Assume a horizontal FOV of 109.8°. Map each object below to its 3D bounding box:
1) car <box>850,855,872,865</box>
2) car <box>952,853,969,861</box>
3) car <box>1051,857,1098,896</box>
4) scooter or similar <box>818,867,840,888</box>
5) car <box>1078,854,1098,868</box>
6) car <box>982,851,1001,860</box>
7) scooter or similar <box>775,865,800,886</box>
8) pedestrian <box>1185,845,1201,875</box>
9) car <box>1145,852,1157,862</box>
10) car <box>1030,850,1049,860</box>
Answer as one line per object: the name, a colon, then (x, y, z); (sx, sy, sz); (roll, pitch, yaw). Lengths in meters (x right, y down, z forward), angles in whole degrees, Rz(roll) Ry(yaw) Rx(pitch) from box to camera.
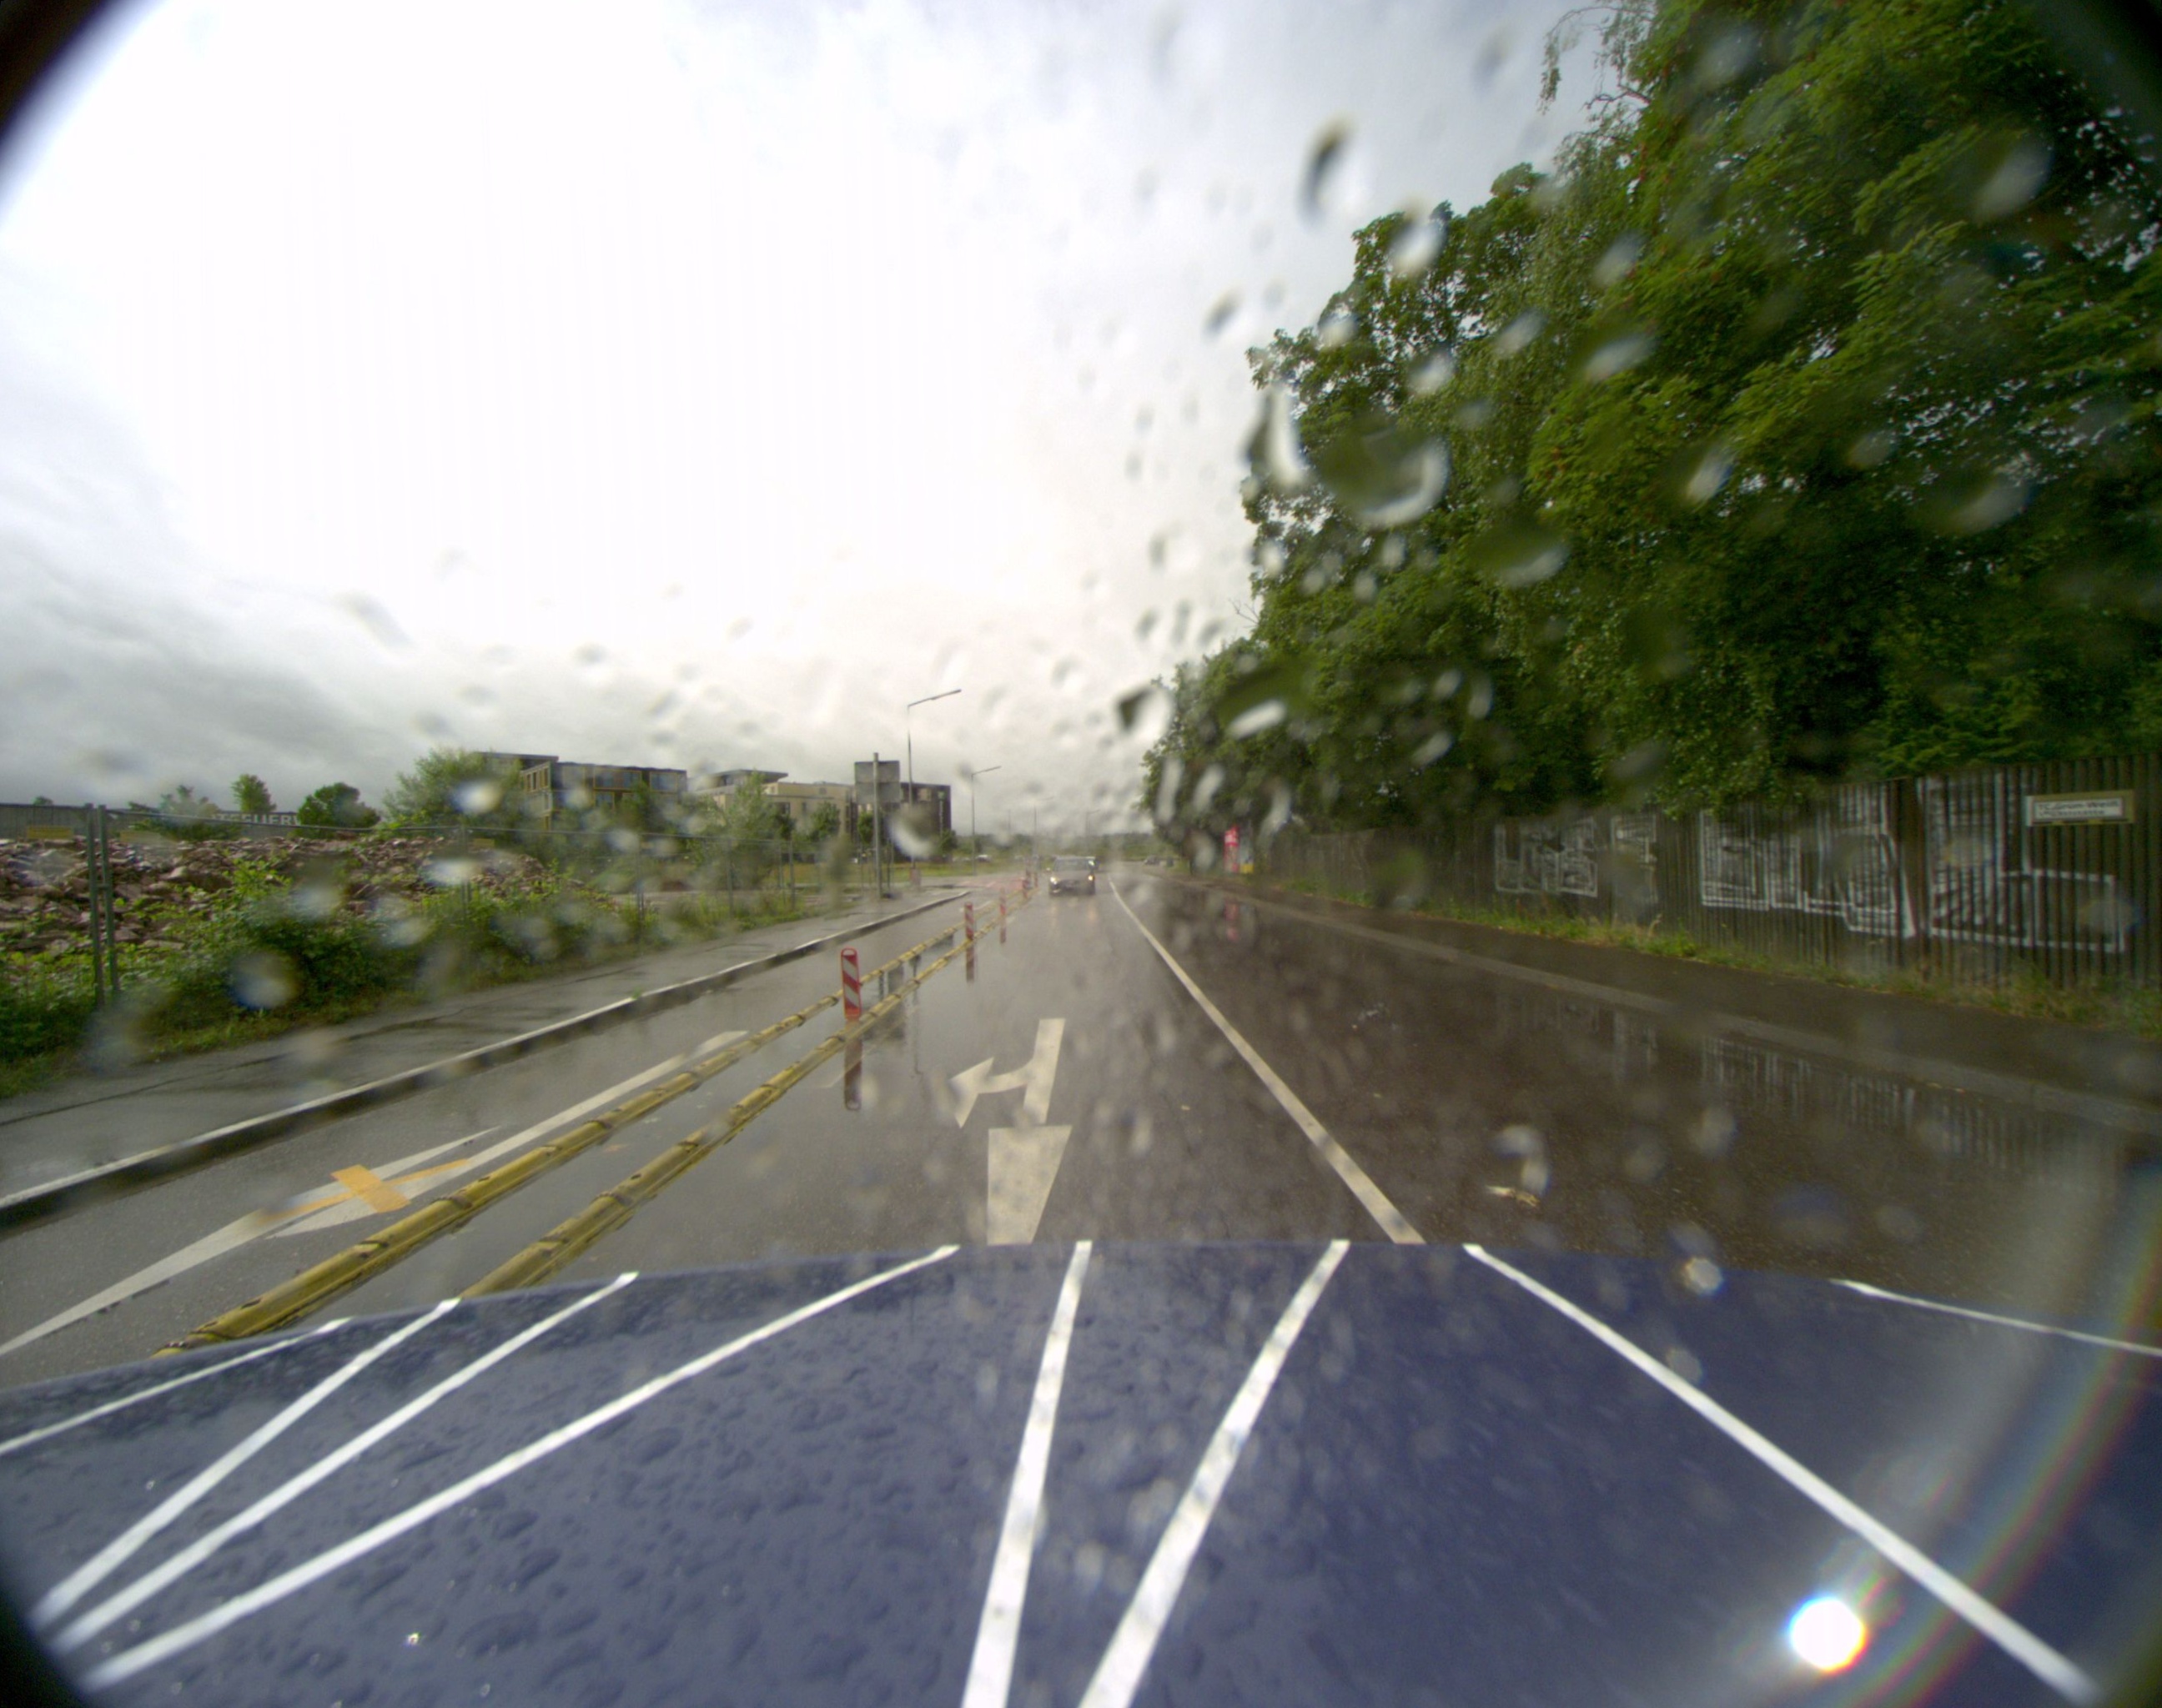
car: (-37.234, 1.081, 128.572); (1.644, 1.573, 3.674); (-1, 0, 24)
car: (-27.322, 0.617, 172.251); (3.657, 1.601, 1.596); (-2, 0, -40)
car: (-0.293, 0.850, 30.398); (1.724, 1.423, 3.817); (-2, 0, -2)
scooter or similar: (-13.665, 1.260, 41.217); (1.191, 1.143, 0.484); (-1, 1, 34)
car: (0.874, 0.827, 95.770); (1.796, 1.623, 3.821); (-2, 0, 11)
car: (-21.338, 0.269, 181.318); (4.008, 2.002, 1.994); (-2, 0, -44)
scooter or similar: (-16.329, 1.205, 42.248); (1.191, 1.143, 0.748); (-1, 1, 33)
pedestrian: (6.513, 0.338, 44.150); (0.841, 1.759, 0.644); (-1, 1, 0)
car: (12.234, 0.542, 132.359); (1.795, 1.623, 3.621); (-2, 0, 11)
car: (-9.277, 0.215, 170.641); (3.989, 2.002, 2.004); (-1, 0, 42)
